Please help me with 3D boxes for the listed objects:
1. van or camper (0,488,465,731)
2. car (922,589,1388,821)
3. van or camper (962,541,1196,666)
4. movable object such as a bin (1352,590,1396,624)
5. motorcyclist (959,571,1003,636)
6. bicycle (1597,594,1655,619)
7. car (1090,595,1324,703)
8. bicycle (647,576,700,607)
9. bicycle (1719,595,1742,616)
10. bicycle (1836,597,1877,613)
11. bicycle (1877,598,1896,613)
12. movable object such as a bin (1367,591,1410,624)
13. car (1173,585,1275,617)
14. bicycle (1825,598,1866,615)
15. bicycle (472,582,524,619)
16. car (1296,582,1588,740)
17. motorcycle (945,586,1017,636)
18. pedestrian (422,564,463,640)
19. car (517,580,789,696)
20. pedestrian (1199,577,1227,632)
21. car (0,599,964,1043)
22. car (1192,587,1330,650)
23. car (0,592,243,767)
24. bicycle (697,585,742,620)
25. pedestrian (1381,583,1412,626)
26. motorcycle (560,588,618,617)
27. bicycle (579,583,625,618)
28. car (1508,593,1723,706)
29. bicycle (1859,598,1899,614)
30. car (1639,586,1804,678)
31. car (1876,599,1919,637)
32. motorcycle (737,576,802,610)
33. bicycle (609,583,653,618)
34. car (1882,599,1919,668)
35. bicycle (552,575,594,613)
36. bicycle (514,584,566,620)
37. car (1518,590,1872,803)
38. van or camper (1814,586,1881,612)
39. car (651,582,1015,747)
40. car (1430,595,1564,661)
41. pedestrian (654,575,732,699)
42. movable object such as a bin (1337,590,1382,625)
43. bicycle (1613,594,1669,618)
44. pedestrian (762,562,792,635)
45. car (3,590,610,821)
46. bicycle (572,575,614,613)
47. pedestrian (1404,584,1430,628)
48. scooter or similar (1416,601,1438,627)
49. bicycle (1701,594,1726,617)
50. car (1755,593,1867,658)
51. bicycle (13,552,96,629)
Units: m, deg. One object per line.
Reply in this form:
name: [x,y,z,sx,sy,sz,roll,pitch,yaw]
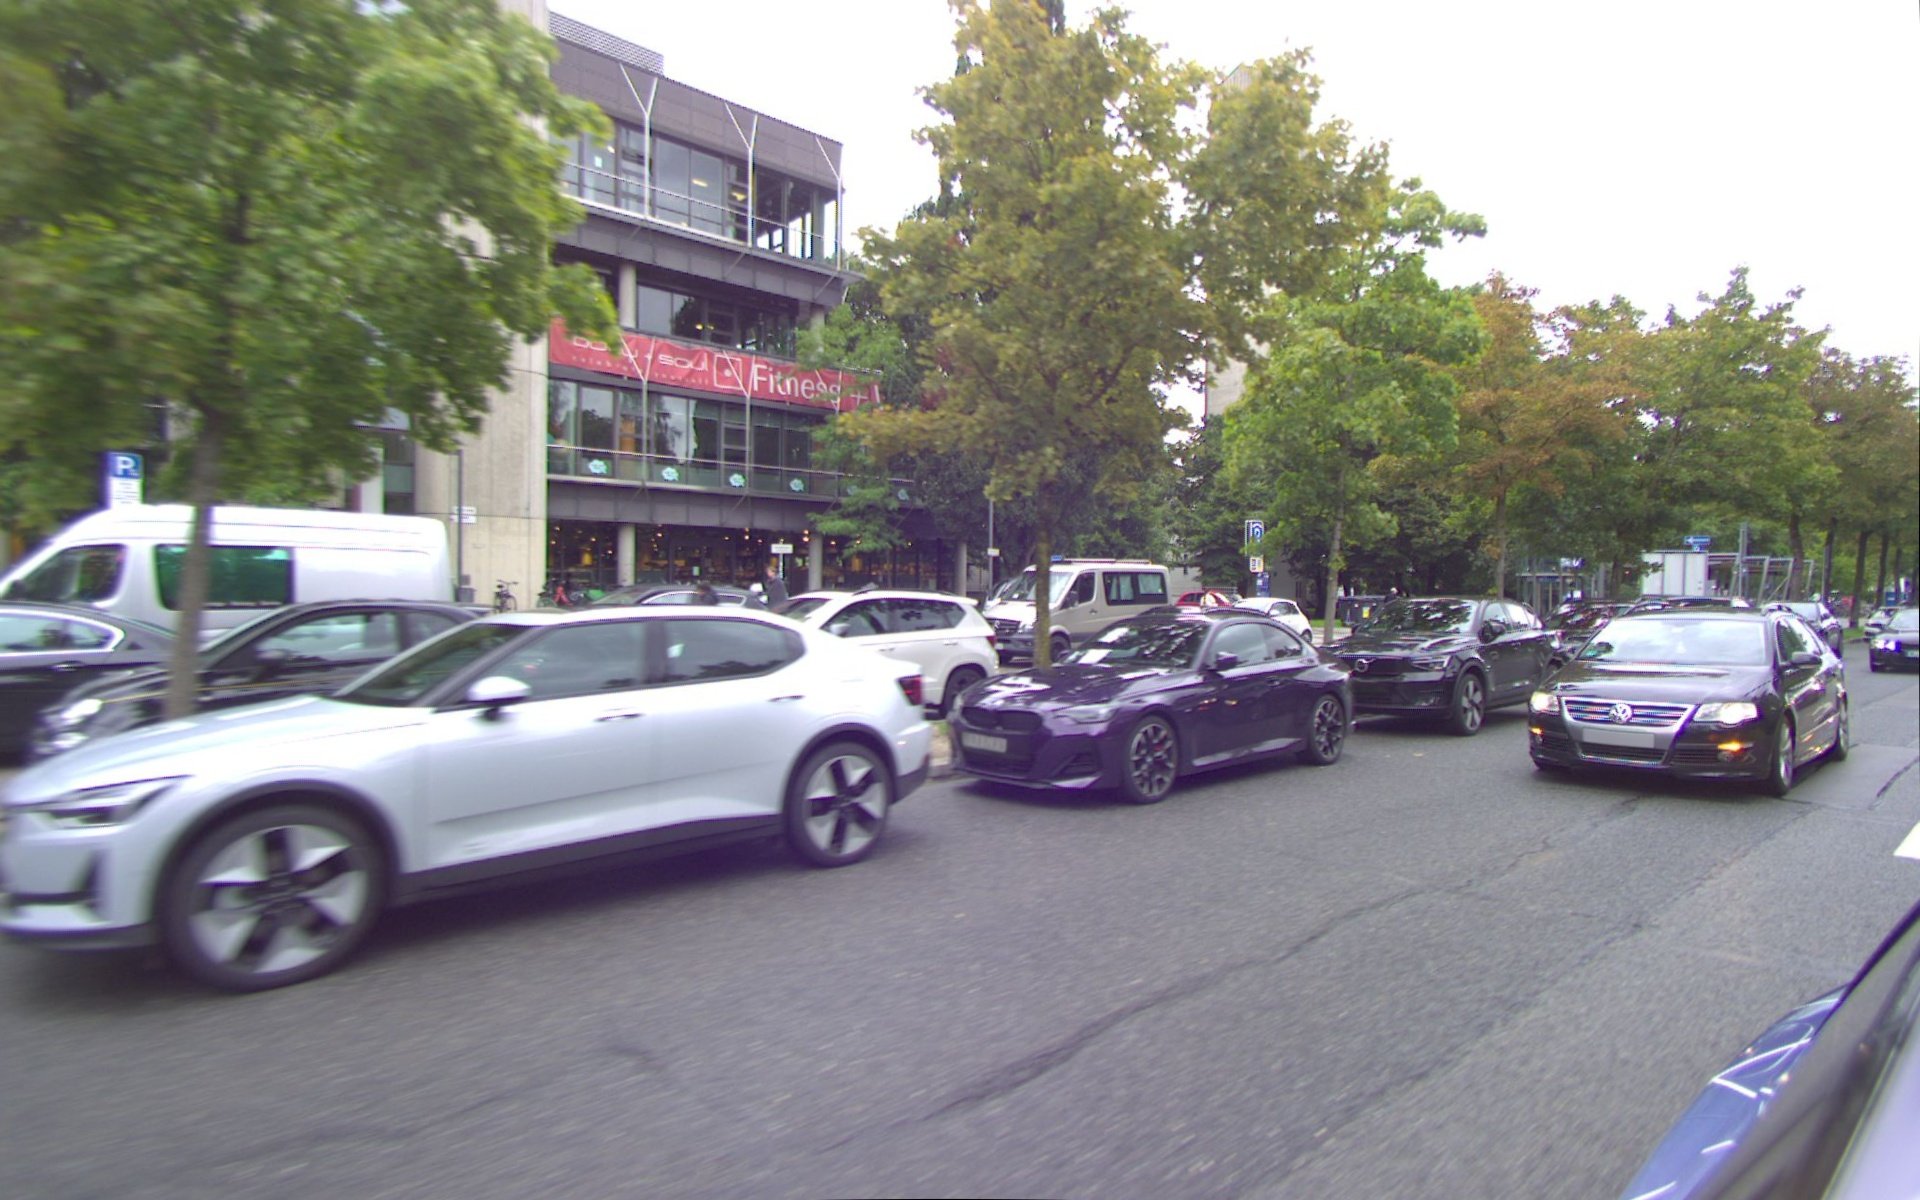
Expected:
van or camper: [-9.627,0.081,12.666,5.851,2.590,2.028,0,1,-40]
car: [1.899,0.700,8.957,4.347,1.565,1.767,0,0,-41]
van or camper: [2.928,0.053,23.709,5.851,2.590,1.997,0,1,-40]
movable object such as a bin: [17.929,0.307,43.789,1.292,1.427,1.338,0,1,-42]
motorcyclist: [0.592,0.082,28.711,0.936,1.757,0.693,0,5,-41]
bicycle: [36.120,0.333,54.916,0.636,1.296,2.547,0,1,-40]
car: [4.048,0.682,16.271,3.940,1.497,1.750,0,1,-42]
bicycle: [-8.339,-0.252,29.580,0.757,0.881,2.401,1,1,3]
bicycle: [47.217,0.325,62.009,2.506,1.296,0.646,0,1,-41]
bicycle: [72.393,0.403,81.722,0.520,1.171,2.344,1,3,-40]
bicycle: [81.957,0.470,89.547,1.962,1.213,0.864,0,2,-37]
movable object such as a bin: [18.921,0.306,44.667,1.292,1.427,1.338,0,1,-42]
car: [9.913,0.033,38.138,1.536,1.166,3.443,0,0,-44]
bicycle: [69.733,0.488,79.683,0.520,1.171,2.344,1,3,-40]
bicycle: [-12.506,-0.005,27.369,0.733,0.970,2.044,0,1,-41]
car: [6.214,0.635,12.818,4.347,1.672,1.767,0,0,-41]
motorcycle: [0.601,0.294,28.752,2.030,1.306,0.698,0,5,-41]
pedestrian: [-10.278,0.034,20.100,0.665,1.495,0.398,0,0,-34]
car: [-4.974,0.531,16.663,3.938,1.685,1.751,0,1,-41]
pedestrian: [8.298,0.130,33.195,0.718,1.773,0.577,0,0,-36]
car: [-2.189,0.748,5.443,4.435,1.472,1.708,0,-1,-42]
car: [8.704,0.474,29.181,3.929,1.671,1.997,0,1,-40]
car: [-9.251,0.675,8.834,4.754,1.472,1.687,0,1,-41]
bicycle: [-7.085,0.056,29.919,0.733,0.970,2.046,1,1,3]
pedestrian: [18.152,0.191,42.089,0.923,1.742,0.830,0,2,-40]
motorcycle: [-11.465,0.066,31.291,1.537,0.876,0.855,0,1,-33]
bicycle: [-10.365,-0.004,29.371,0.732,0.970,2.049,1,1,-3]
car: [11.106,0.730,17.042,4.308,1.672,1.726,0,1,-38]
bicycle: [75.243,0.458,82.870,0.574,1.171,2.344,1,3,-40]
car: [16.111,0.598,21.323,4.734,1.722,1.765,0,1,-40]
car: [37.729,0.683,40.091,4.405,1.452,1.656,0,1,-41]
motorcycle: [-7.151,-0.269,38.087,0.869,1.244,2.342,3,2,42]
bicycle: [-9.560,-0.007,29.465,0.732,0.970,2.049,1,1,-3]
car: [22.223,0.717,22.647,4.589,1.447,1.818,0,0,-41]
bicycle: [-12.837,-0.220,33.556,0.577,1.219,2.140,0,1,-42]
bicycle: [-11.648,0.039,28.035,0.733,0.970,2.044,0,1,-41]
car: [6.901,0.668,9.292,4.591,1.493,1.749,0,0,-42]
van or camper: [81.638,-0.115,93.088,6.069,2.325,2.153,0,0,-23]
car: [-1.366,0.617,11.794,3.938,1.605,1.687,0,1,-40]
car: [13.386,0.644,25.121,3.933,1.507,1.765,0,-1,-43]
pedestrian: [-4.199,0.549,15.906,0.887,1.874,0.876,0,1,-41]
movable object such as a bin: [16.940,0.308,42.904,1.292,1.427,1.338,0,1,-42]
bicycle: [38.956,0.315,57.932,0.636,1.296,2.547,0,1,-40]
pedestrian: [-4.489,-0.032,24.851,0.717,1.773,0.578,0,0,-9]
car: [-5.176,0.668,8.426,3.938,1.472,1.687,0,1,-40]
bicycle: [-12.334,-0.219,33.961,0.577,1.219,2.140,0,1,-42]
pedestrian: [18.532,0.231,41.063,0.970,1.742,0.540,0,2,-41]
scooter or similar: [19.216,0.580,41.664,0.818,1.031,0.501,0,2,-41]
bicycle: [43.459,0.330,58.364,2.506,1.296,0.646,0,1,-41]
car: [23.242,0.638,27.580,4.376,1.609,1.764,0,1,-42]
bicycle: [-19.030,-0.216,21.251,2.603,1.527,0.788,1,1,37]
